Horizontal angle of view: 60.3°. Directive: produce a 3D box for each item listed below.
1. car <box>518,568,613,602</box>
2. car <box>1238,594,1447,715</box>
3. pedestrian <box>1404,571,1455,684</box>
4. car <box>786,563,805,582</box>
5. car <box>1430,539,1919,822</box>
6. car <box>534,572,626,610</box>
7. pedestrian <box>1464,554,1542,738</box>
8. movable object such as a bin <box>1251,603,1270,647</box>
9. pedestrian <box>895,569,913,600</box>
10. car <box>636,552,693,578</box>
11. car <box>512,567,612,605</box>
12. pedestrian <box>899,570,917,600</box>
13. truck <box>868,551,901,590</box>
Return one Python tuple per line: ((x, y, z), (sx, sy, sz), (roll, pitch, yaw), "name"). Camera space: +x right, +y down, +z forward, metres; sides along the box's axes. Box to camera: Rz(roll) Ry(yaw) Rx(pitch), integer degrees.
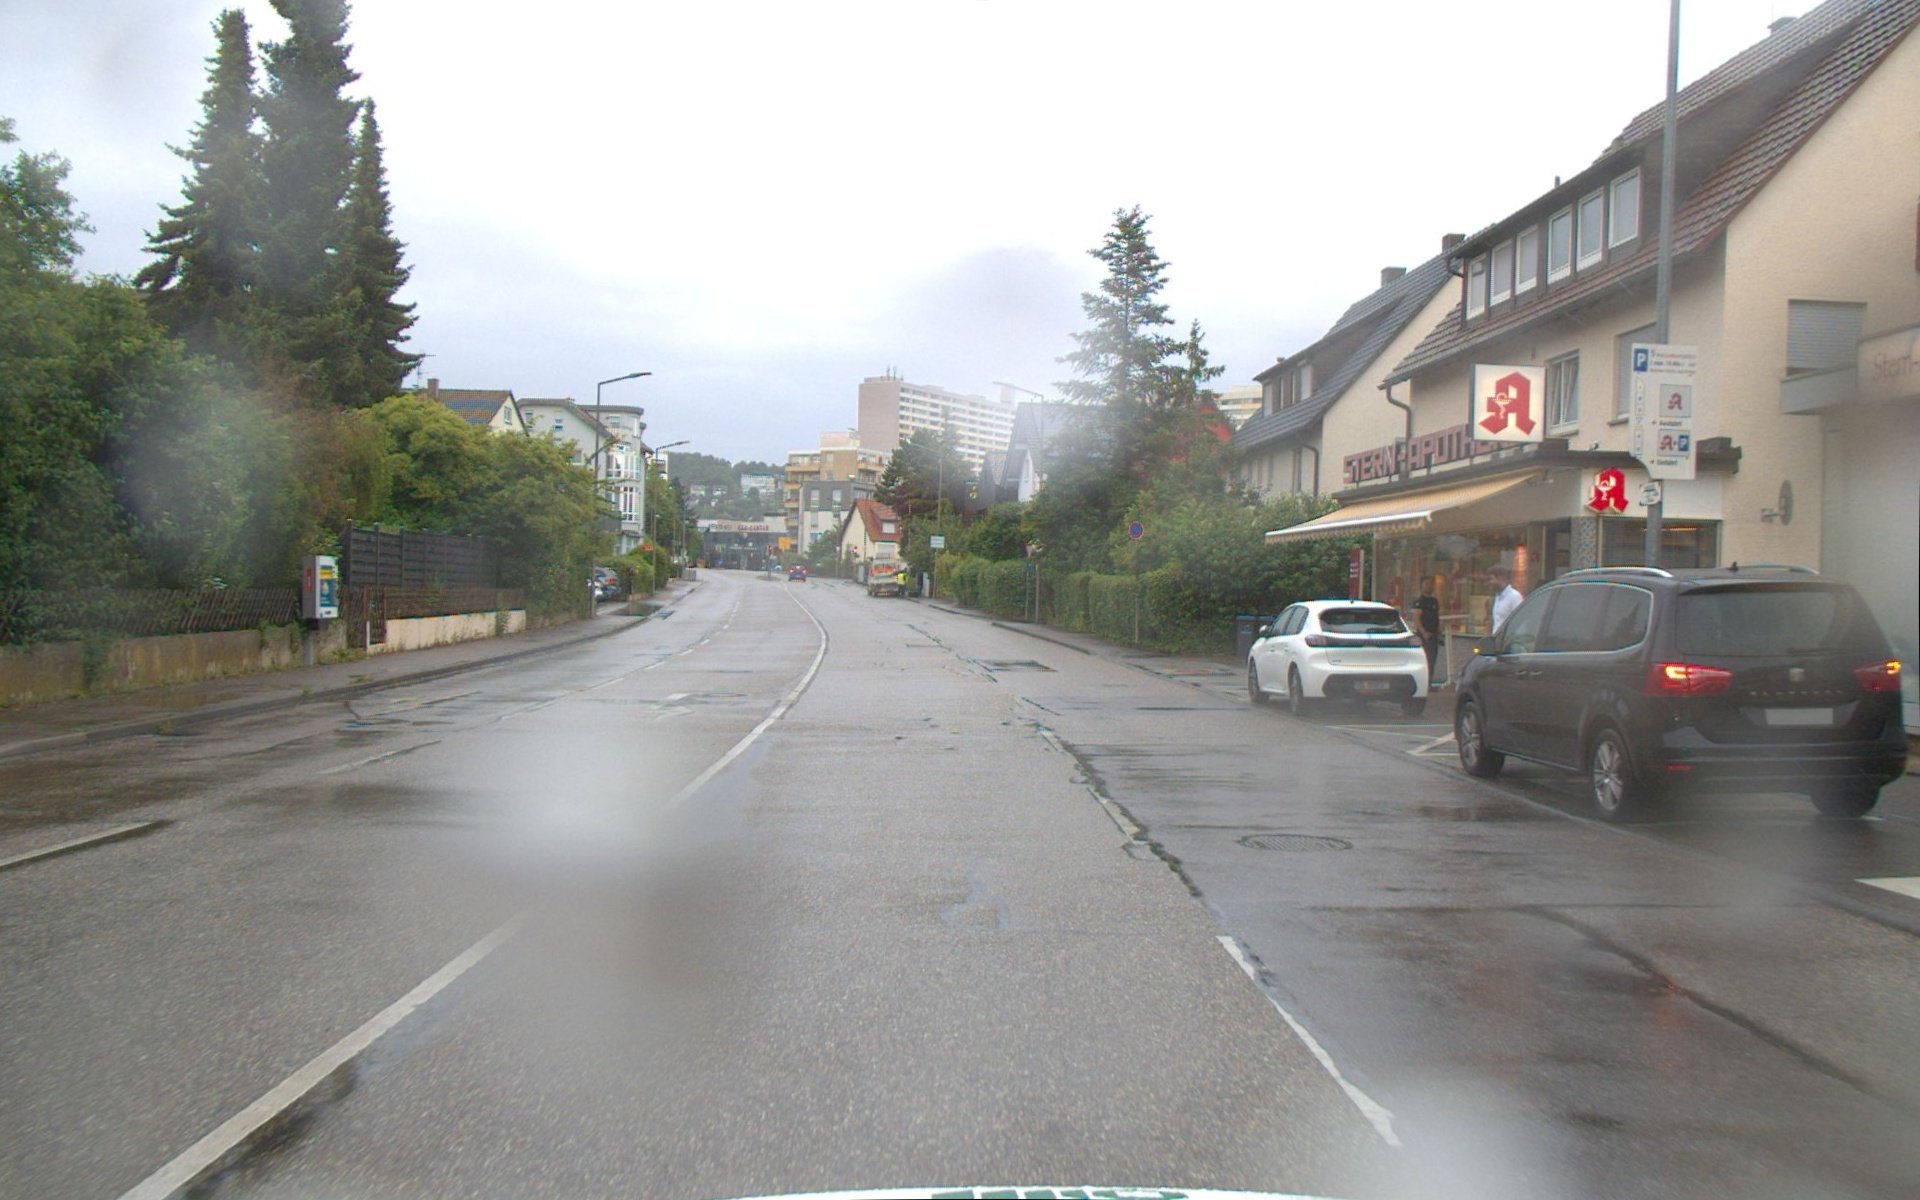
((-18.065, -0.693, 75.818), (3.905, 1.471, 1.706), (1, 0, 0), "car")
((5.080, 0.661, 22.542), (1.778, 1.473, 4.202), (0, 0, -2), "car")
((7.200, 0.421, 25.365), (0.546, 1.708, 0.510), (1, 0, -39), "pedestrian")
((-15.669, -2.639, 157.628), (1.759, 1.699, 3.996), (0, 0, -5), "car")
((5.319, 0.519, 12.703), (1.994, 1.725, 4.962), (-1, -1, 0), "car")
((-18.293, -0.434, 79.750), (3.902, 1.716, 1.810), (1, 0, 11), "car")
((5.846, 0.486, 17.792), (0.611, 1.924, 0.645), (1, 0, 34), "pedestrian")
((6.957, 0.570, 38.302), (0.359, 1.004, 0.355), (1, 0, -5), "movable object such as a bin")
((-3.339, -0.901, 98.572), (0.812, 1.828, 0.794), (1, 1, -25), "pedestrian")
((-25.635, -3.030, 143.474), (4.426, 2.048, 2.002), (3, 1, 8), "car")
((-17.695, -0.629, 73.636), (3.906, 1.459, 1.971), (3, 1, -1), "car")
((-3.129, -0.904, 99.618), (0.812, 1.756, 0.835), (1, 1, -24), "pedestrian")
((-4.708, -1.833, 102.826), (1.954, 2.343, 3.998), (1, 1, -3), "truck")
